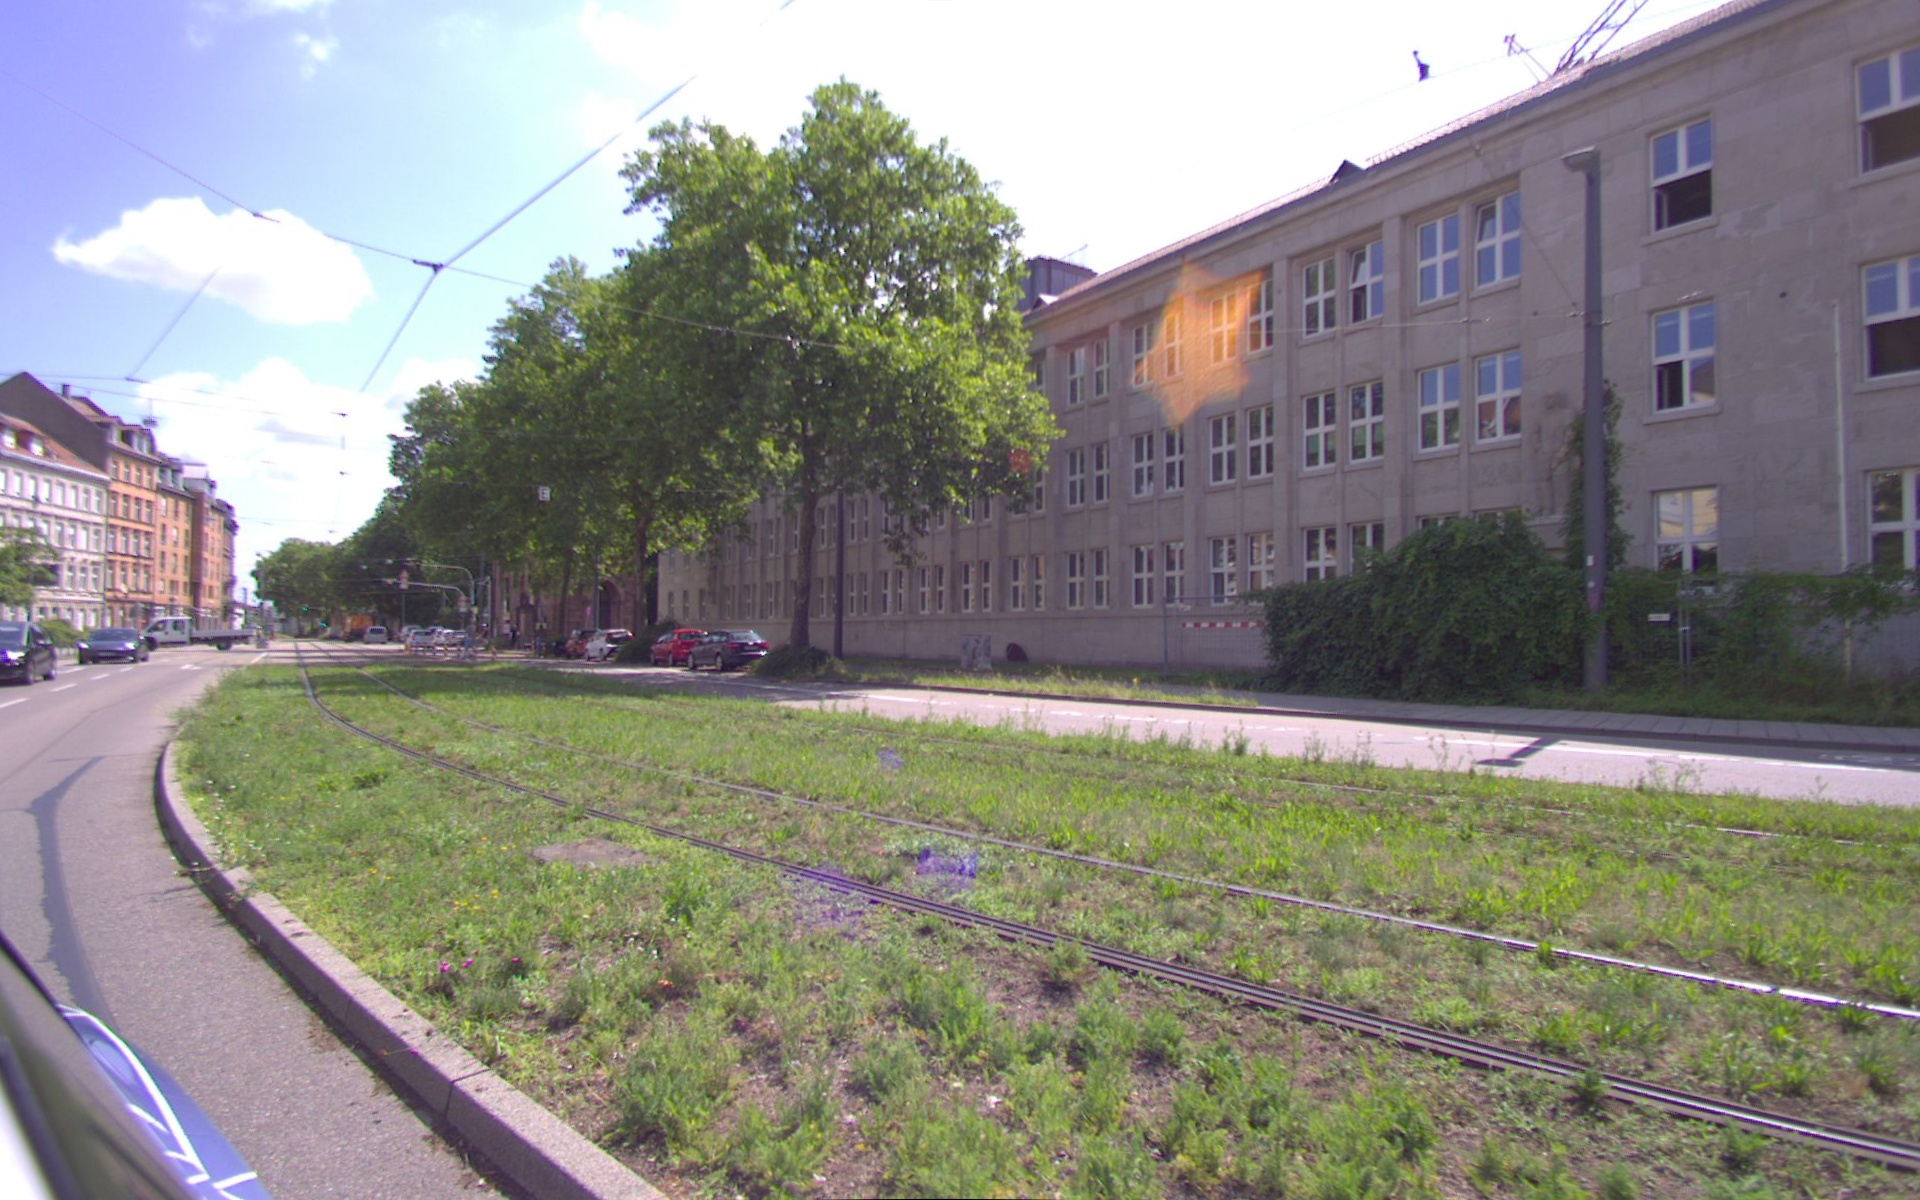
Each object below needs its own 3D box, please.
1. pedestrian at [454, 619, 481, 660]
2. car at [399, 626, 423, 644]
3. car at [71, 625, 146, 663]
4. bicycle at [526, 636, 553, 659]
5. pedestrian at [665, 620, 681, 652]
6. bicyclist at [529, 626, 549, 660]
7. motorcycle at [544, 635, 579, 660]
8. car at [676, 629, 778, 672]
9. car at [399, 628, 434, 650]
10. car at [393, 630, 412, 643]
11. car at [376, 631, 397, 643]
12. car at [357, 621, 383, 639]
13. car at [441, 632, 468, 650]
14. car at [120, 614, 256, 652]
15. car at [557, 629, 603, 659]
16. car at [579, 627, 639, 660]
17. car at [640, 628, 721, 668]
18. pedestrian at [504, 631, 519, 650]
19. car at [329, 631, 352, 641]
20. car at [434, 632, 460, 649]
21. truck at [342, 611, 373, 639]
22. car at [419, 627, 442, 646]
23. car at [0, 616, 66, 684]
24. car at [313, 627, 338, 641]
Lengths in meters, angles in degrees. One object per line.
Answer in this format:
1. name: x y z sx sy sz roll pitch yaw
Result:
1. pedestrian: -20.751 1.664 42.622 0.698 1.717 0.778 -1 -1 22
2. car: -65.559 4.149 120.875 1.962 2.019 4.094 0 -1 -36
3. car: -34.049 1.728 40.577 1.884 1.404 4.324 0 -1 -34
4. bicycle: -21.502 2.432 51.690 0.780 1.118 2.282 0 -1 -36
5. pedestrian: -14.716 1.835 51.855 0.546 1.603 0.797 0 -1 -35
6. bicyclist: -21.490 2.194 51.662 0.751 1.717 0.785 0 -1 -37
7. motorcycle: -22.114 2.620 56.186 0.540 1.184 2.095 -5 -1 18
8. car: -8.153 1.726 35.165 1.901 1.379 4.327 0 -2 -36
9. car: -39.561 2.853 73.659 1.736 1.491 3.797 4 -5 -35
10. car: -68.987 4.486 125.196 1.733 1.508 4.011 0 -1 -33
11. car: -77.143 4.979 136.077 1.735 1.508 4.006 0 -1 -40
12. car: -59.824 3.033 102.585 1.895 1.759 4.549 5 -4 -35
13. car: -45.958 3.697 91.892 1.733 1.508 4.011 0 -1 -33
14. car: -50.690 2.171 66.688 6.861 2.392 2.269 1 -2 -31
15. car: -19.445 2.258 51.777 1.467 1.465 2.889 0 -2 -36
16. car: -16.672 2.063 47.966 1.723 1.465 3.499 0 -2 -36
17. car: -11.010 1.856 39.716 1.900 1.431 4.060 0 -2 -34
18. pedestrian: -29.676 2.666 66.976 0.745 1.221 0.916 -4 1 -32
19. car: -95.927 5.543 156.794 3.994 1.508 1.740 -1 -1 38
20. car: -48.515 3.787 95.721 1.733 1.508 4.011 0 -1 -33
21. truck: -70.757 2.982 118.813 2.603 3.130 7.241 4 -3 -34
22. car: -54.778 3.770 104.692 1.733 1.850 4.011 0 -1 -33
23. car: -24.525 1.242 25.906 1.845 1.631 4.200 1 -1 -33
24. car: -102.220 5.413 163.027 3.980 2.201 1.746 -1 -1 27
